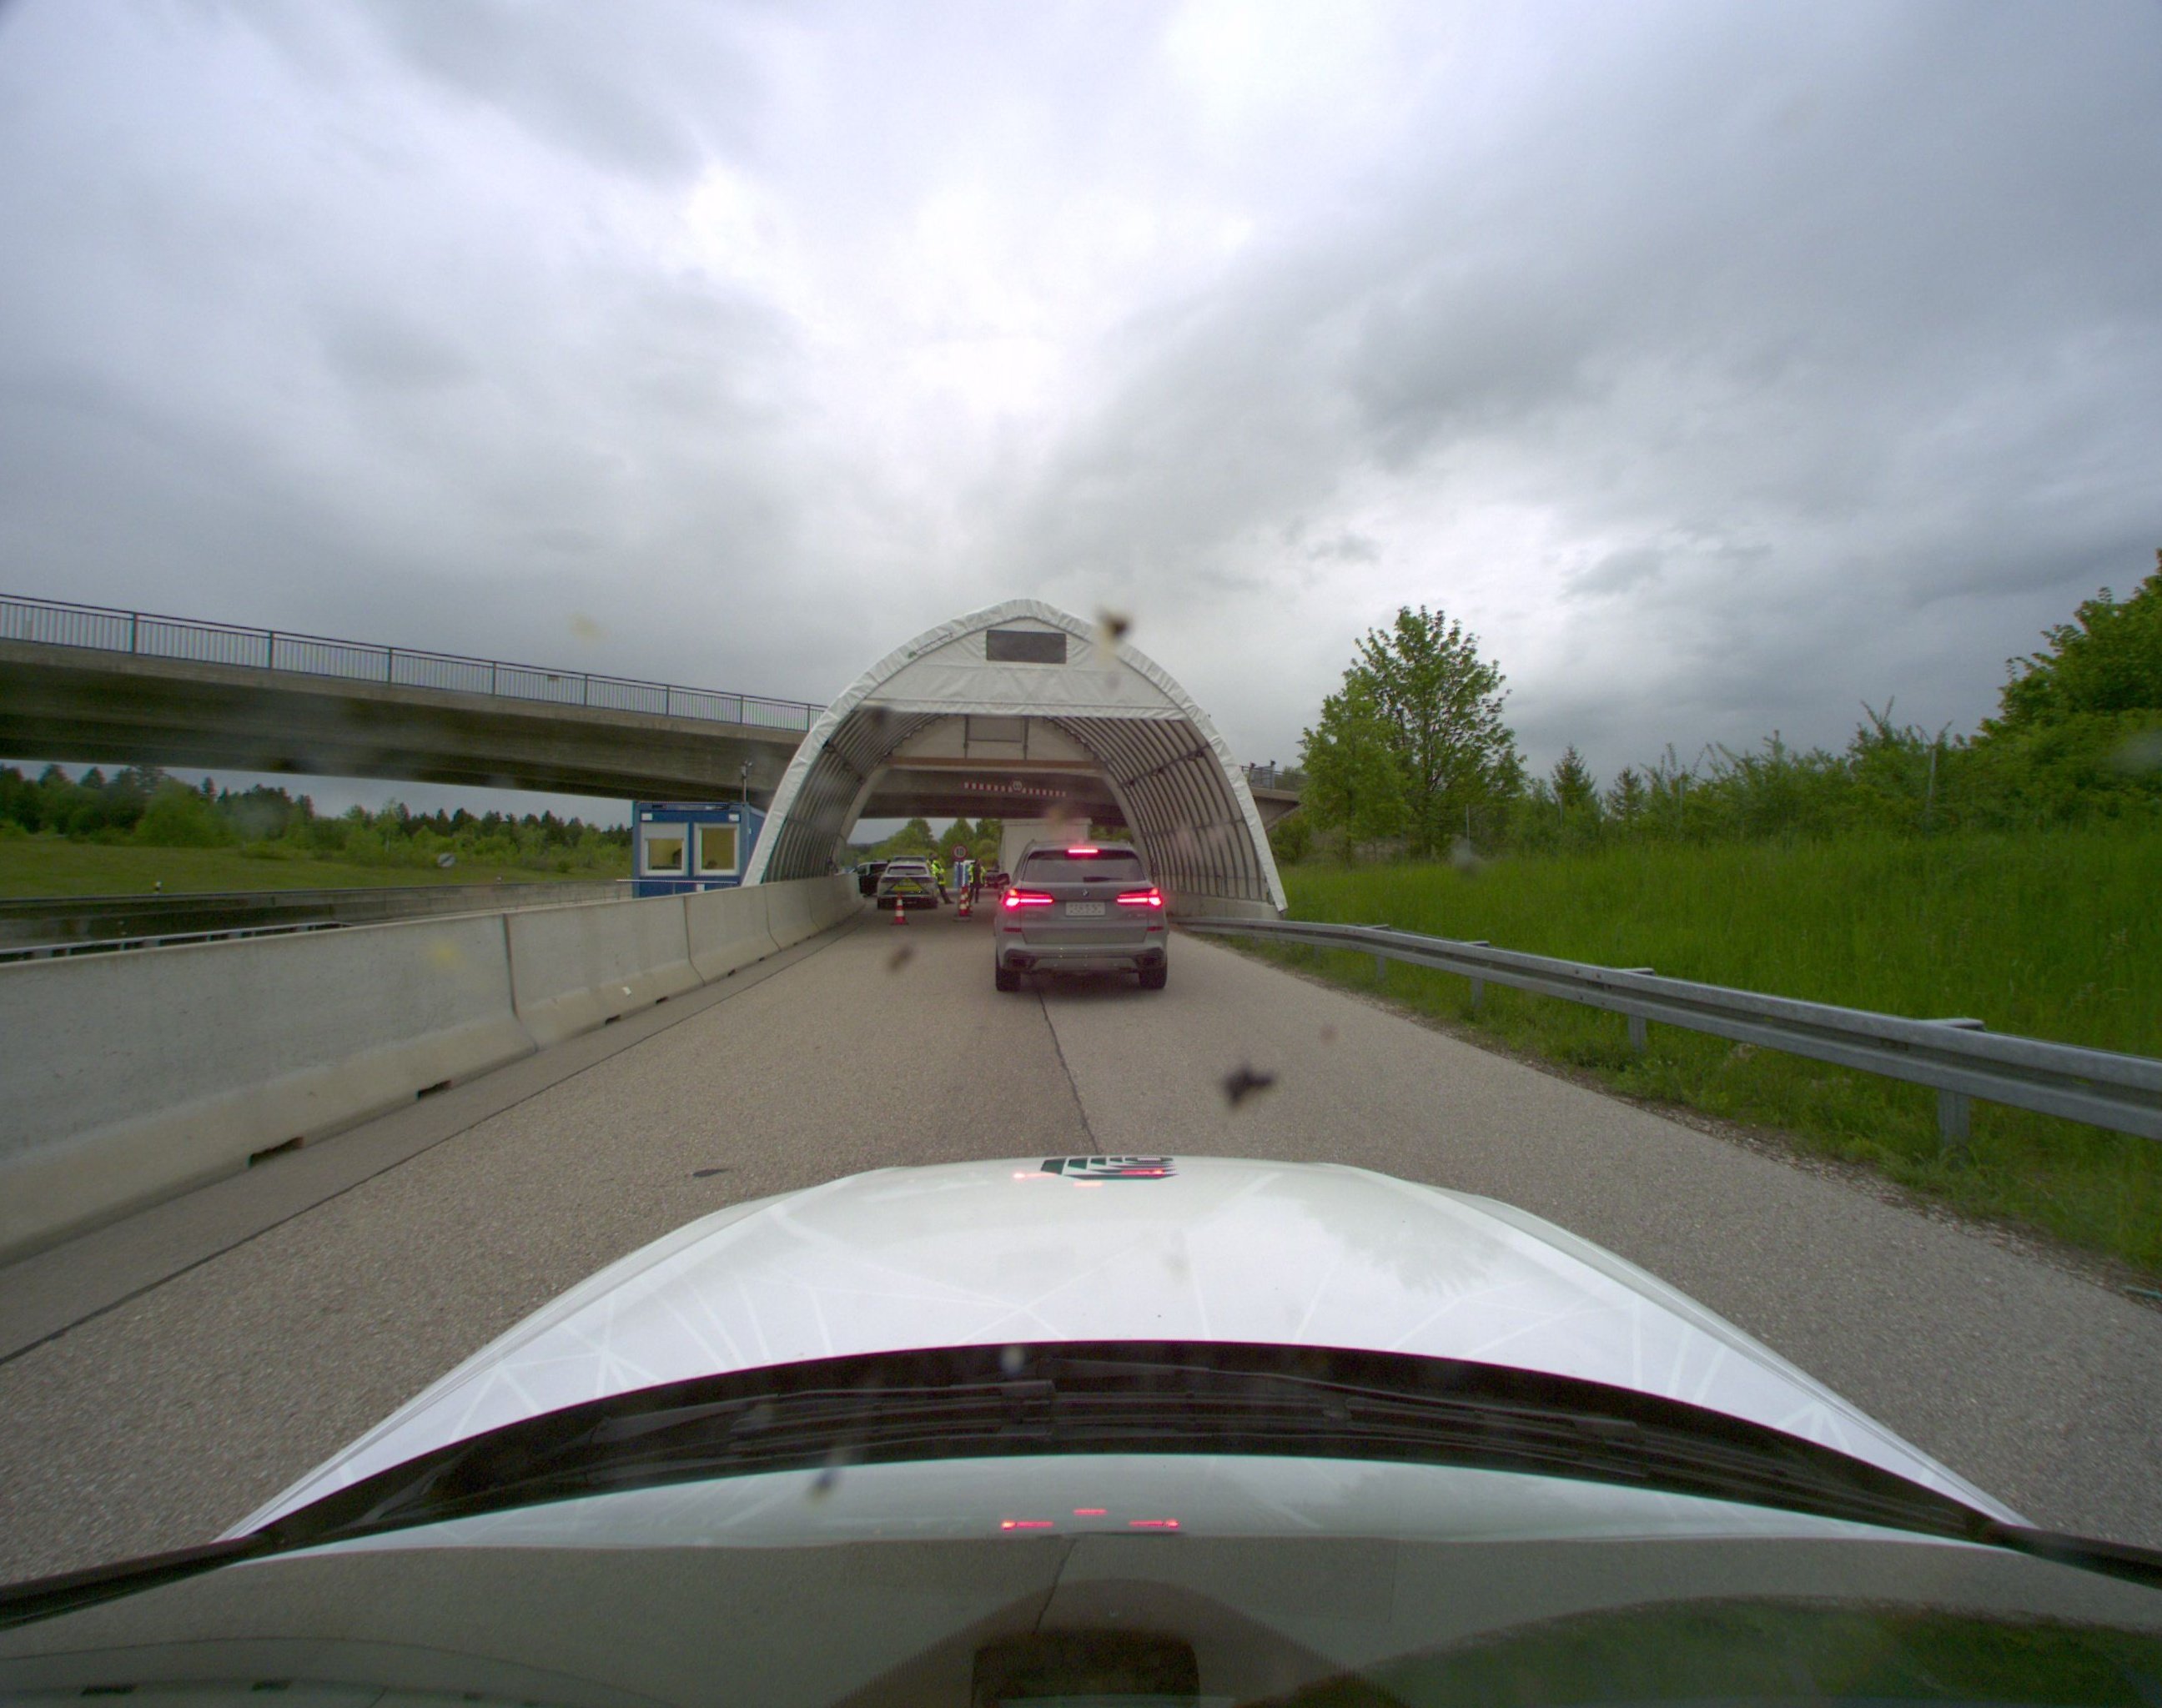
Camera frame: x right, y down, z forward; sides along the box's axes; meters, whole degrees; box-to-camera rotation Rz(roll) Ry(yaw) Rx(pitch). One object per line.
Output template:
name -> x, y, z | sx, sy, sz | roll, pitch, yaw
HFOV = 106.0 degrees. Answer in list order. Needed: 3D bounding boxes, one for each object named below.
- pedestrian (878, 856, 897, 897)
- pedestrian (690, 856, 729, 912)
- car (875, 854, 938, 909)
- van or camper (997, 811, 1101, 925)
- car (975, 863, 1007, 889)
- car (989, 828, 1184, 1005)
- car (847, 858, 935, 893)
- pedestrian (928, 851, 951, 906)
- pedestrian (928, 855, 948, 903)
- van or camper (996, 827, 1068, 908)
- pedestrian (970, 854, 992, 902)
pedestrian -> -9.575, 1.119, 40.335 | 0.698, 2.014, 0.692 | -1, -1, 1
pedestrian -> -9.246, 0.734, 20.286 | 0.606, 1.373, 0.629 | -2, -1, 10
car -> -5.776, 0.875, 27.009 | 1.879, 1.647, 3.983 | -1, -1, -12
van or camper -> -1.071, 0.361, 22.000 | 2.228, 2.552, 6.594 | -1, -1, -7
car -> -6.540, 1.582, 59.052 | 1.994, 1.722, 3.882 | -1, -1, -11
car -> -0.154, 0.663, 10.453 | 1.992, 1.765, 3.990 | -1, -1, -7
car -> -11.478, 1.294, 49.330 | 4.777, 2.014, 1.845 | -1, -1, 9
pedestrian -> -5.079, 0.870, 29.179 | 0.750, 1.919, 0.759 | -1, -1, -13
pedestrian -> -5.291, 0.919, 30.130 | 0.607, 1.754, 0.665 | -1, -1, -4
van or camper -> -1.819, 0.452, 28.243 | 2.102, 2.519, 5.536 | -1, -1, -7
pedestrian -> -3.682, 0.880, 29.976 | 0.779, 1.722, 0.755 | -1, -1, -8
